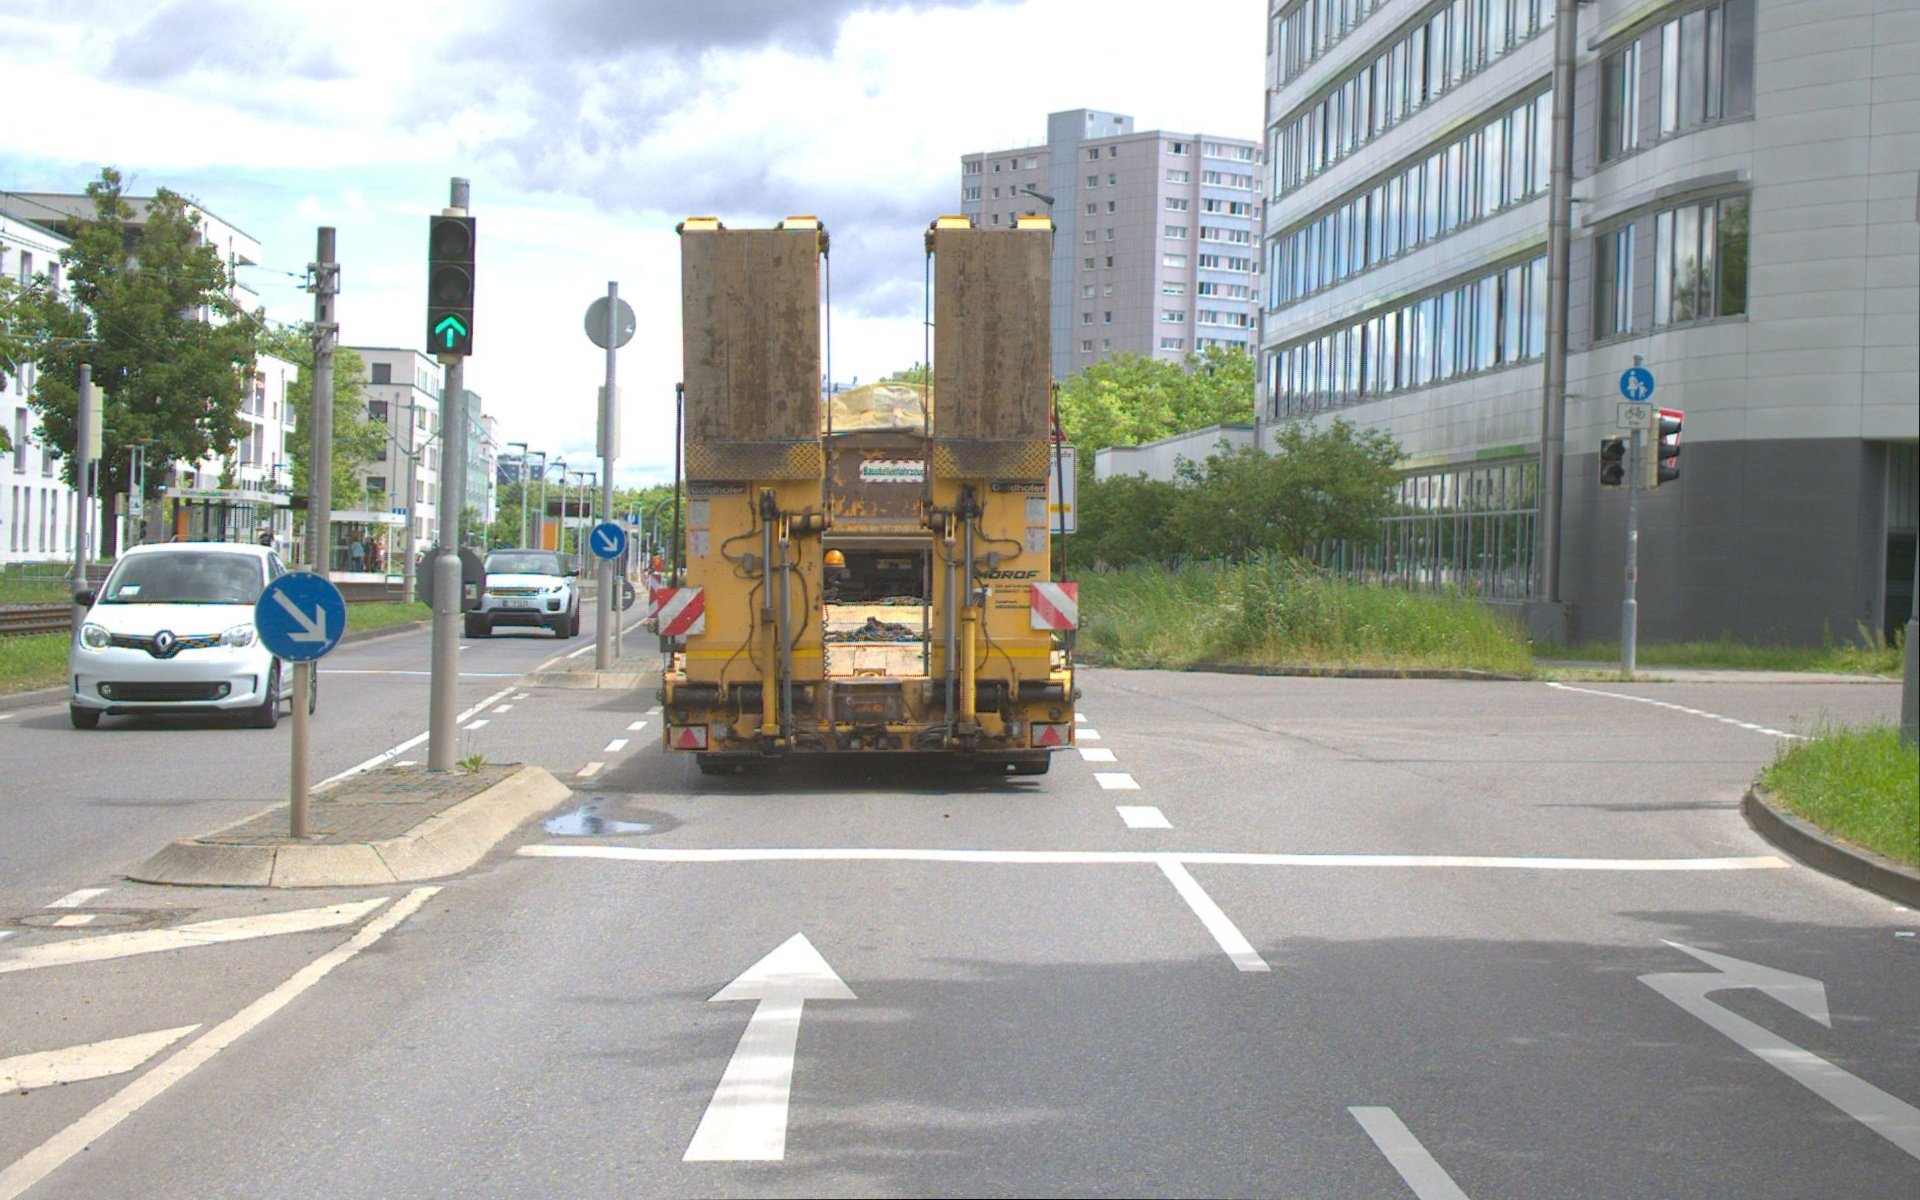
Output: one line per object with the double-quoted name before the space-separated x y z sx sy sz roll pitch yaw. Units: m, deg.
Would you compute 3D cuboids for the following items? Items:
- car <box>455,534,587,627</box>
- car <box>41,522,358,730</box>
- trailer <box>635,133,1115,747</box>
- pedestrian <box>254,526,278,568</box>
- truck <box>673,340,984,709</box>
"car" -8.077 -0.353 63.619 1.860 1.605 4.608 2 0 -1
"car" -6.449 0.204 29.598 1.728 1.607 4.263 2 0 0
"trailer" -0.834 -0.972 26.005 2.729 3.547 11.255 2 0 -3
"pedestrian" -25.892 -1.985 128.323 0.741 1.526 0.547 2 0 1
"truck" -1.412 -0.709 35.797 2.753 3.302 8.352 2 0 -3
